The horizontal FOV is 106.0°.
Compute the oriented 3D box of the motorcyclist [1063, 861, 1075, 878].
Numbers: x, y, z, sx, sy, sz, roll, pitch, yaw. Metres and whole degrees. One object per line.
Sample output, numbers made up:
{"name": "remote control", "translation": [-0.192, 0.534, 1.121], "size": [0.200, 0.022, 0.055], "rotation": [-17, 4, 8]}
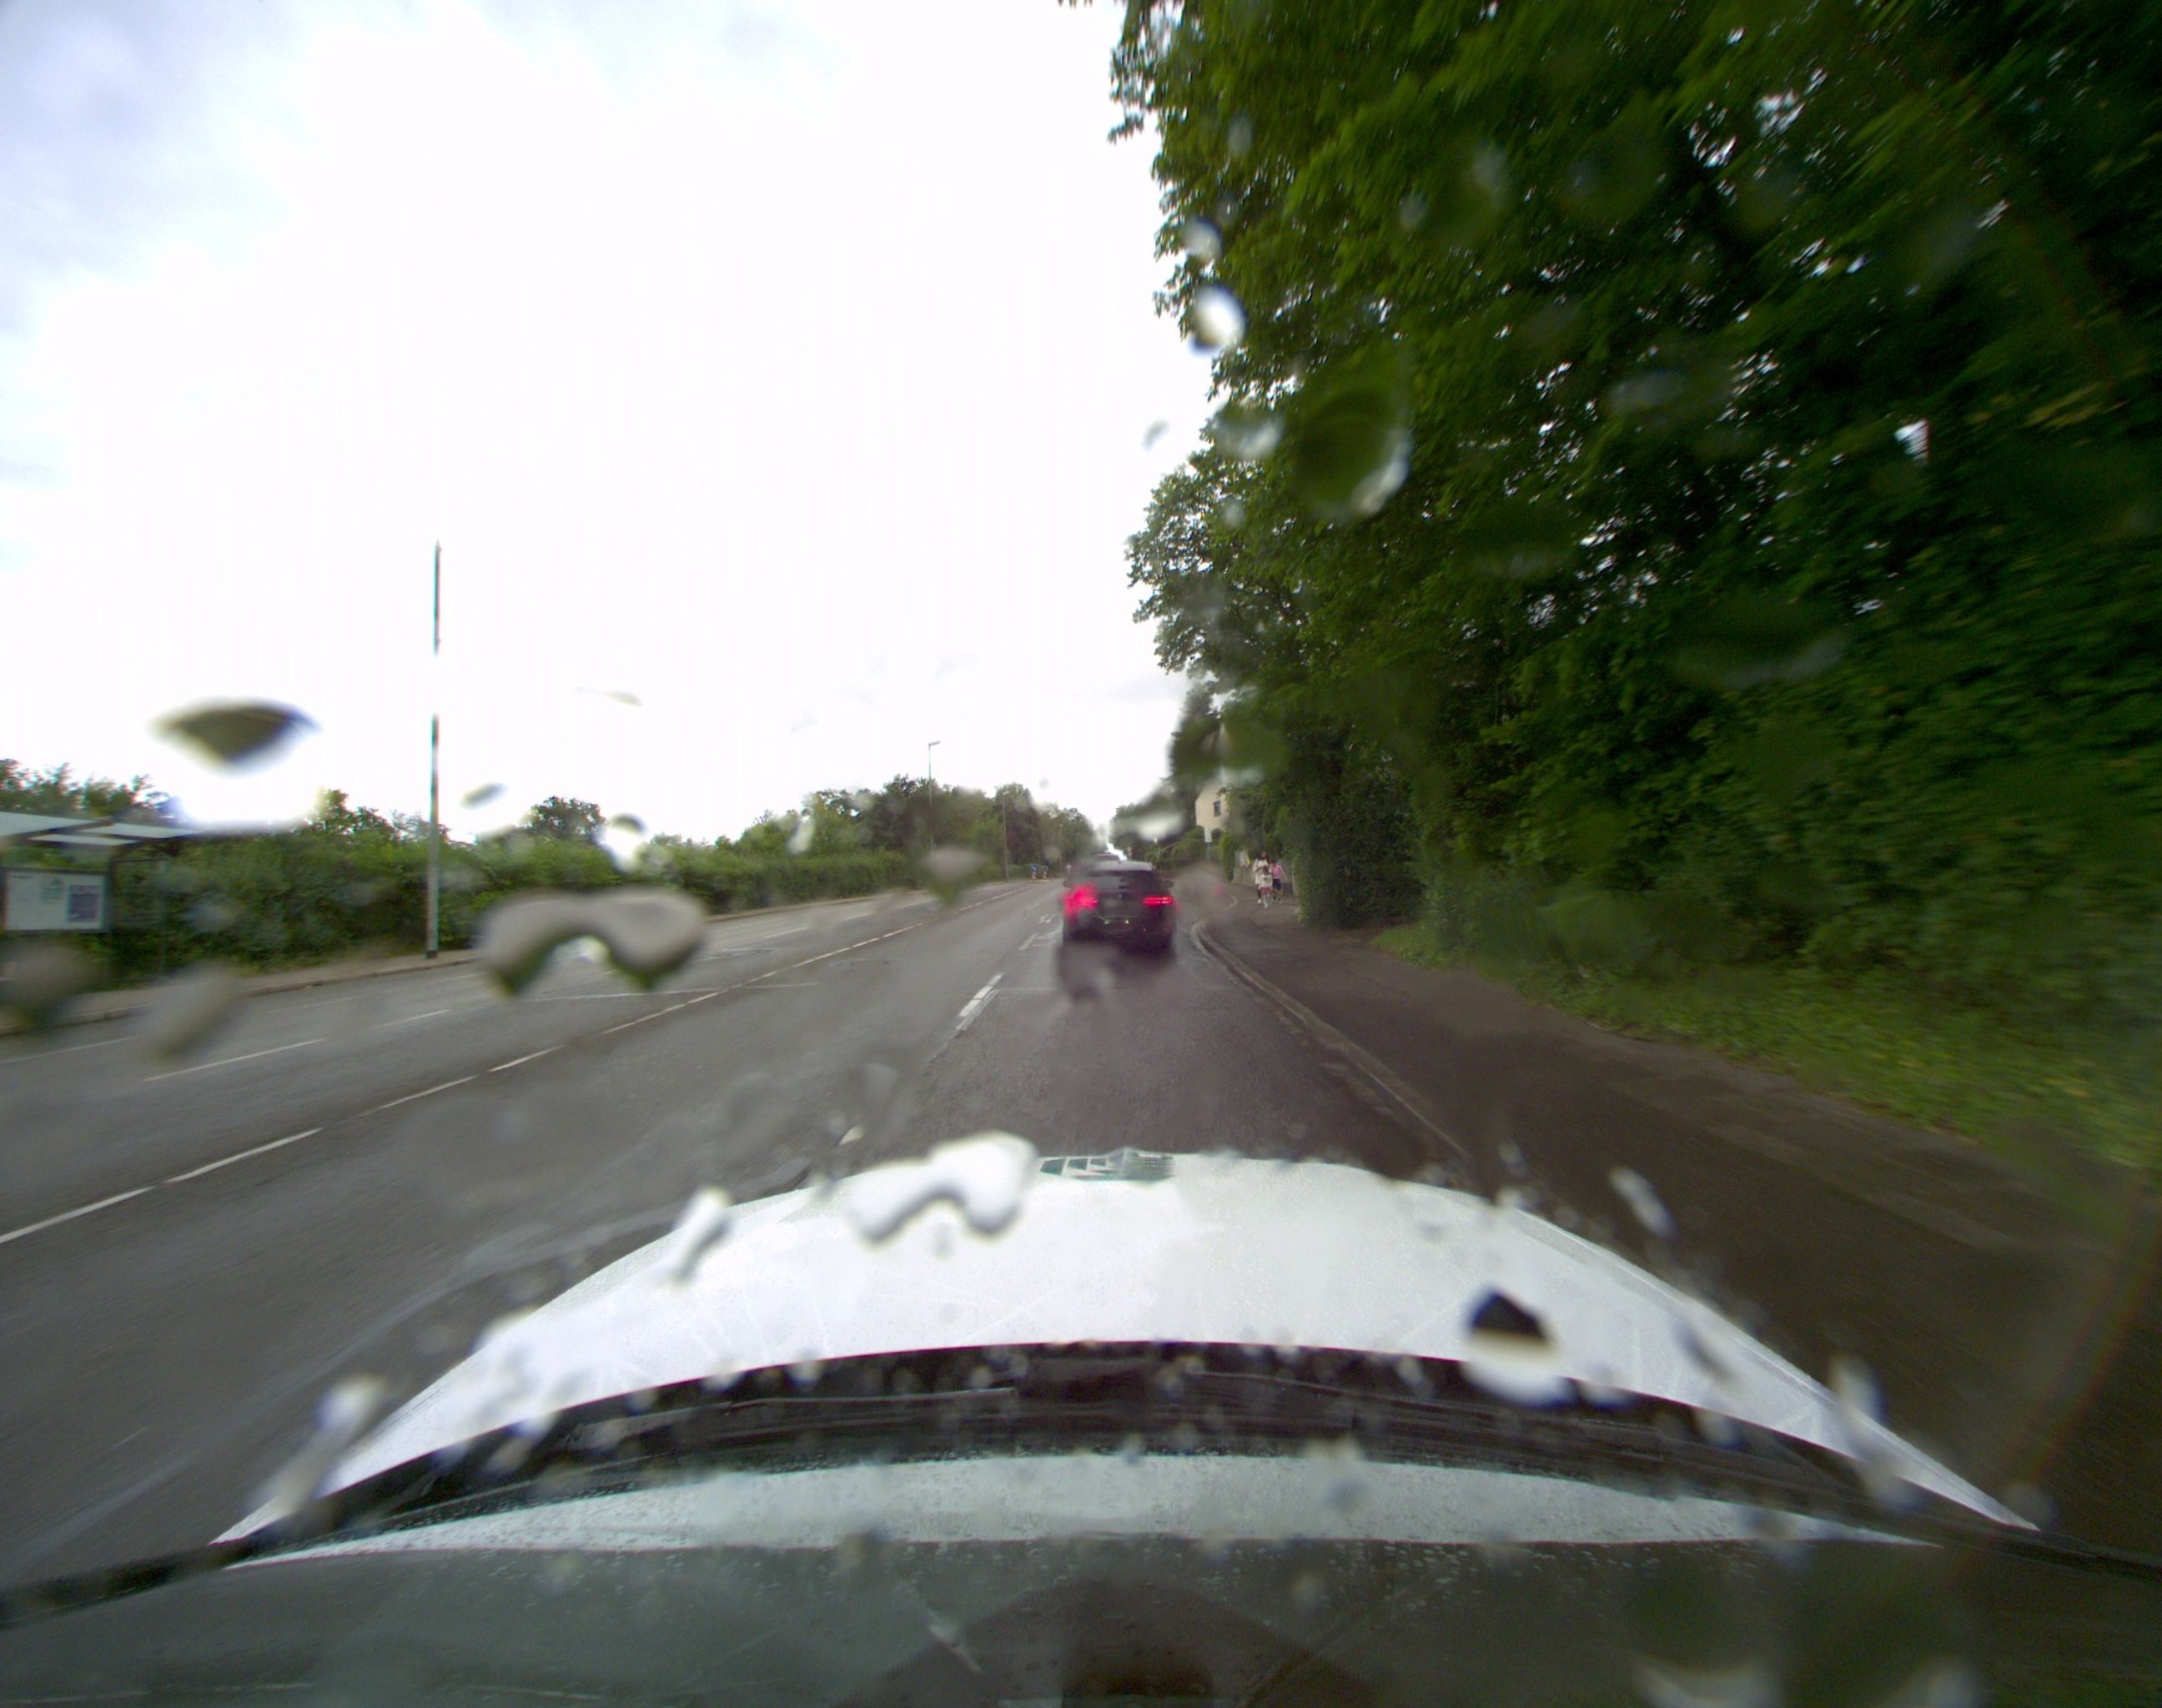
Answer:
{"name": "motorcyclist", "translation": [-1.093, 1.492, 75.991], "size": [1.035, 1.568, 0.855], "rotation": [0, -2, 1]}

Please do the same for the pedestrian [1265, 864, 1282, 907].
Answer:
{"name": "pedestrian", "translation": [5.273, 0.857, 22.307], "size": [0.365, 1.146, 0.367], "rotation": [-2, -1, 10]}

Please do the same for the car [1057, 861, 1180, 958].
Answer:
{"name": "car", "translation": [0.680, 0.894, 14.553], "size": [1.889, 1.489, 4.003], "rotation": [0, -1, 3]}

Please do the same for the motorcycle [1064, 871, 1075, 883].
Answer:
{"name": "motorcycle", "translation": [-1.082, 2.166, 75.975], "size": [0.872, 1.124, 2.742], "rotation": [0, -1, 2]}

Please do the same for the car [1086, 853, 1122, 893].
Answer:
{"name": "car", "translation": [1.148, 0.920, 40.629], "size": [1.623, 1.833, 4.001], "rotation": [-3, -1, 2]}

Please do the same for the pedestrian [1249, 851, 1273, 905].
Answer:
{"name": "pedestrian", "translation": [5.469, 0.727, 24.756], "size": [0.606, 1.593, 0.648], "rotation": [-2, -1, 10]}

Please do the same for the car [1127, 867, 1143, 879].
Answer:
{"name": "car", "translation": [6.844, 2.377, 103.048], "size": [1.927, 1.442, 4.413], "rotation": [-3, -1, 4]}
